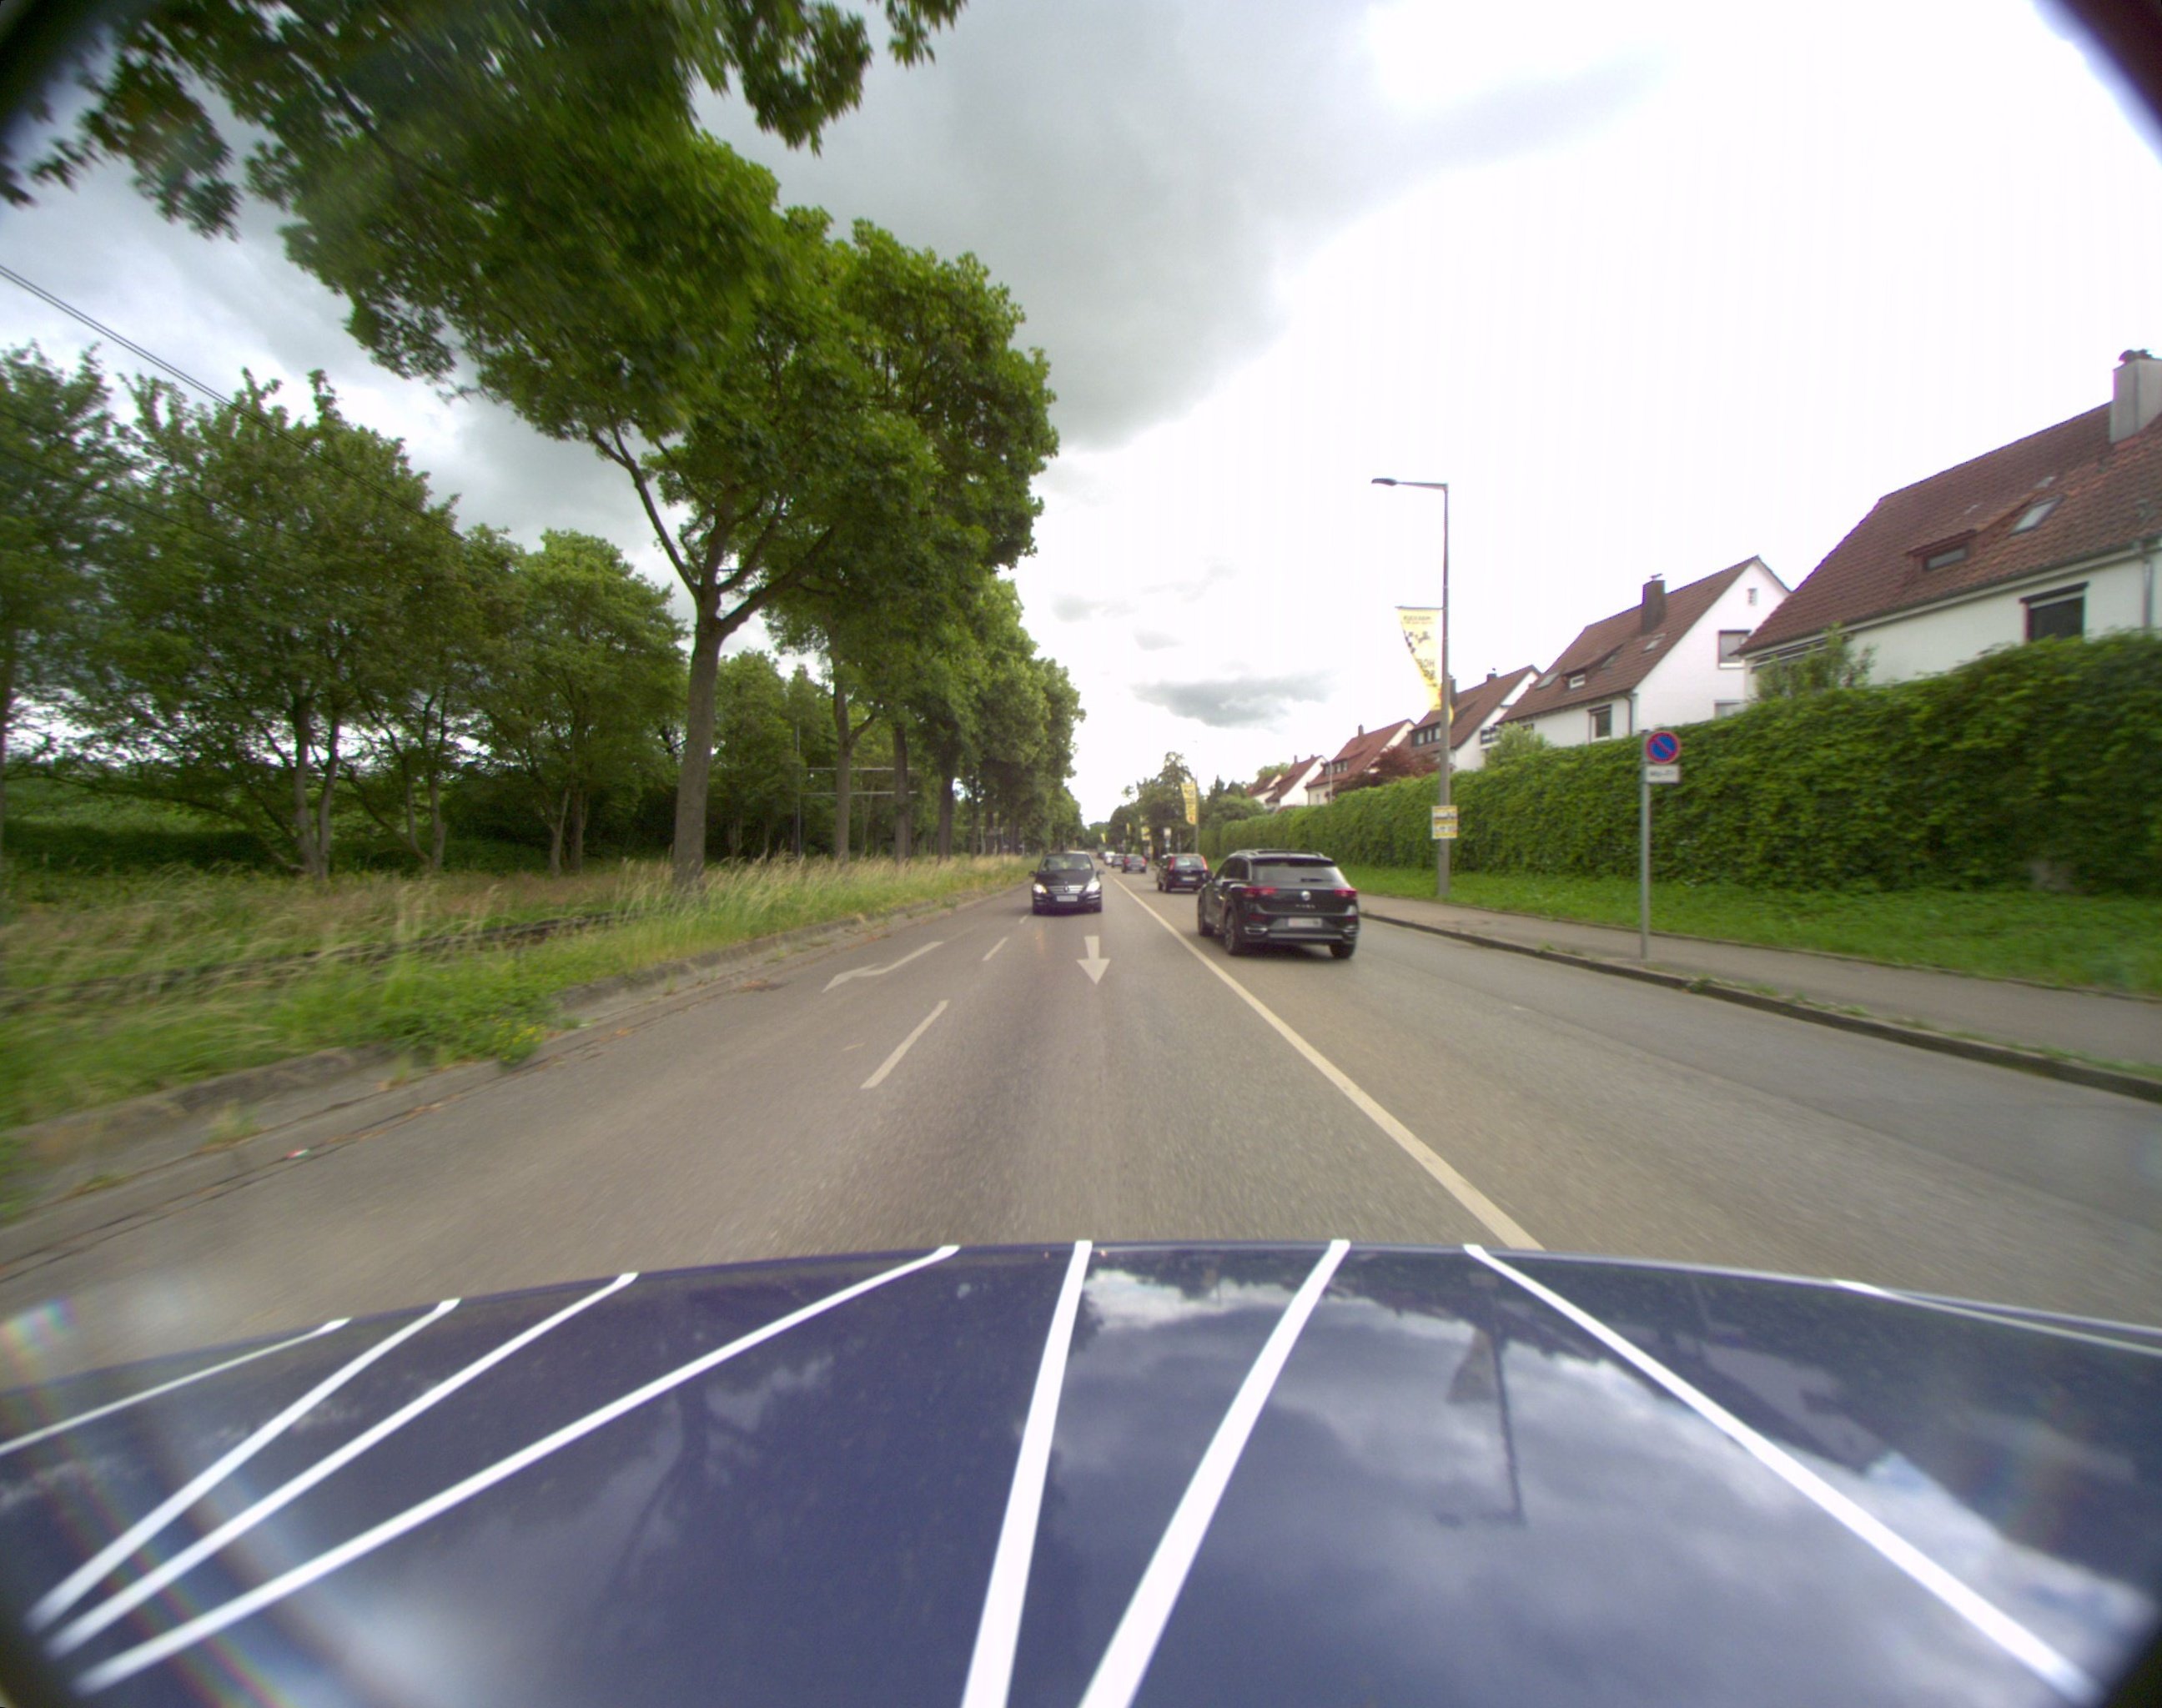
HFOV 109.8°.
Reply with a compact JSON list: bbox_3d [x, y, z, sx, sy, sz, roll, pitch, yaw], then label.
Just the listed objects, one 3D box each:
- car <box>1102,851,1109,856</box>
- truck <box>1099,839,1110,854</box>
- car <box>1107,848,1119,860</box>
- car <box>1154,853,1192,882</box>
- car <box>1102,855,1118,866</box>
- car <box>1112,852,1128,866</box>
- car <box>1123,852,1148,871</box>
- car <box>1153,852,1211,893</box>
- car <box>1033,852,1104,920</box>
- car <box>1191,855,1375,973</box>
[{"bbox_3d":[6.015,-0.155,186.822,1.737,1.367,4.239,0,0,0],"label":"car"},{"bbox_3d":[6.632,-2.157,214.107,2.556,4.020,10.617,1,1,0],"label":"truck"},{"bbox_3d":[5.638,-0.045,134.656,1.911,1.921,4.910,1,1,0],"label":"car"},{"bbox_3d":[5.054,0.723,42.207,1.622,1.453,4.072,2,1,1],"label":"car"},{"bbox_3d":[4.072,0.903,107.174,1.891,1.375,4.490,0,0,-1],"label":"car"},{"bbox_3d":[4.427,0.586,87.279,1.756,1.510,4.000,0,0,1],"label":"car"},{"bbox_3d":[4.349,0.605,61.245,1.732,1.456,4.153,0,0,0],"label":"car"},{"bbox_3d":[3.921,0.693,30.065,1.647,1.472,4.106,1,0,-1],"label":"car"},{"bbox_3d":[-0.300,0.778,20.776,1.683,1.565,4.482,-2,1,0],"label":"car"},{"bbox_3d":[2.978,0.800,12.152,1.817,1.515,4.176,1,0,0],"label":"car"}]
